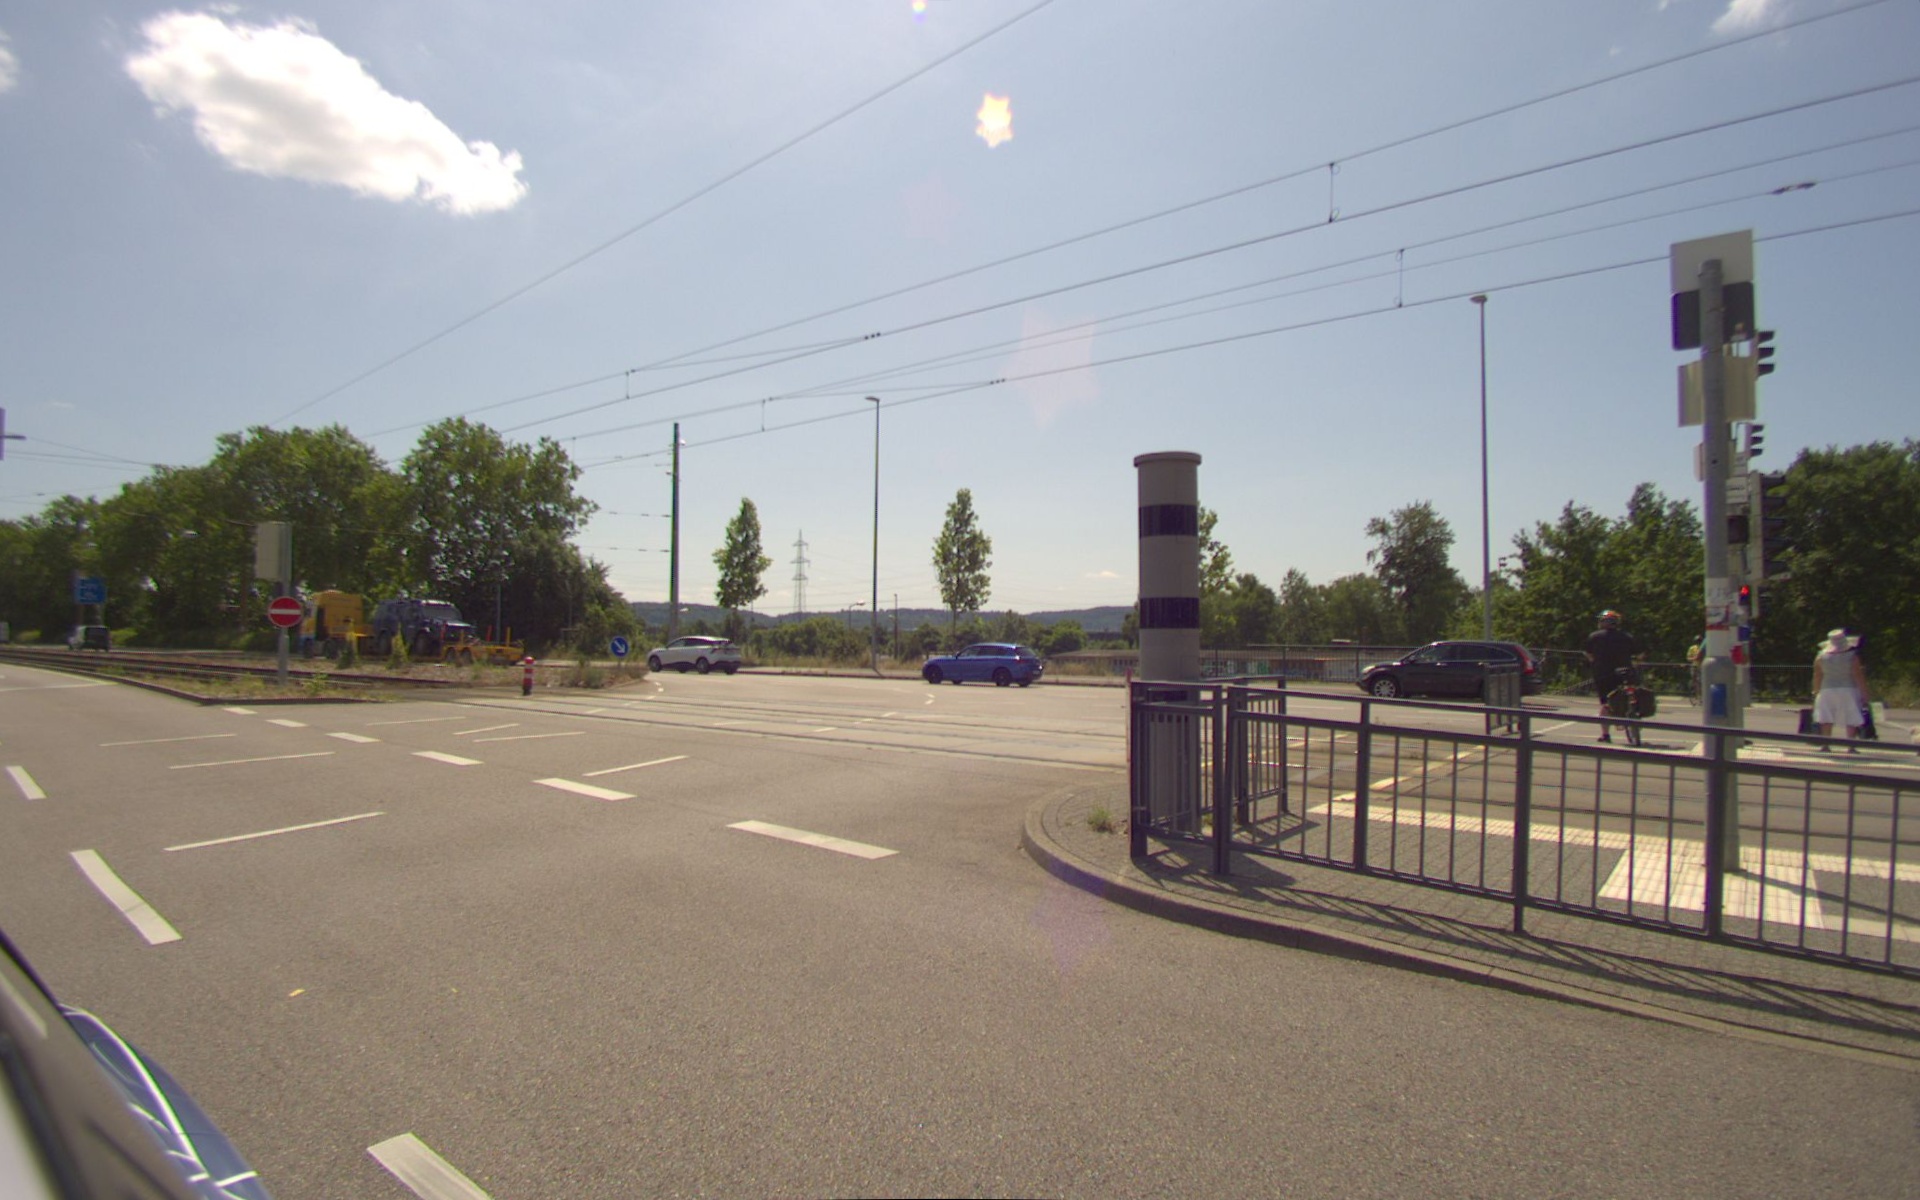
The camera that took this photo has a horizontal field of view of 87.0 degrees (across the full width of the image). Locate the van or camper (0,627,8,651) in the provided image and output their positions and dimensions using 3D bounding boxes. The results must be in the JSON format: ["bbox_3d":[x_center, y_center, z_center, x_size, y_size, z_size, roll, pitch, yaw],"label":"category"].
[{"bbox_3d":[-110.864,4.427,115.396,5.828,2.606,1.977,-1,-4,34],"label":"van or camper"}]

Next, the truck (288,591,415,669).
[{"bbox_3d":[-34.005,1.730,56.448,7.454,4.070,3.100,-2,-3,34],"label":"truck"}]

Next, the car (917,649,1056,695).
[{"bbox_3d":[0.873,2.397,34.338,4.333,1.456,1.979,-2,-2,31],"label":"car"}]

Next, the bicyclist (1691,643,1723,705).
[{"bbox_3d":[19.809,1.944,26.832,0.544,1.622,0.579,-3,-3,45],"label":"bicyclist"}]

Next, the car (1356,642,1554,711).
[{"bbox_3d":[12.755,1.911,26.182,4.301,1.642,1.975,-2,-3,37],"label":"car"}]

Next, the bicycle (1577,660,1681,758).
[{"bbox_3d":[8.725,1.383,13.278,0.759,1.109,1.962,-1,-2,23],"label":"bicycle"}]

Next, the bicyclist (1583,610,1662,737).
[{"bbox_3d":[8.778,0.959,13.433,0.729,1.627,0.661,-1,-2,23],"label":"bicyclist"}]

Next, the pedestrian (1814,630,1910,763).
[{"bbox_3d":[11.088,1.161,12.474,0.762,1.560,0.755,-2,-3,36],"label":"pedestrian"}]

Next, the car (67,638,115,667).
[{"bbox_3d":[-64.716,3.945,75.334,4.430,1.852,1.973,-8,-9,41],"label":"car"}]

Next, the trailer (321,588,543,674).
[{"bbox_3d":[-27.523,1.822,52.156,15.438,3.901,3.089,-3,-4,34],"label":"trailer"}]

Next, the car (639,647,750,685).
[{"bbox_3d":[-10.874,2.651,41.448,4.262,1.474,1.979,-2,-3,30],"label":"car"}]

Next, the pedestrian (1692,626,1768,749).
[{"bbox_3d":[10.595,1.177,13.965,0.762,1.622,0.948,-2,-3,36],"label":"pedestrian"}]

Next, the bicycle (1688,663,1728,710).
[{"bbox_3d":[20.012,2.294,27.061,1.511,1.202,0.590,2,-3,-44],"label":"bicycle"}]
